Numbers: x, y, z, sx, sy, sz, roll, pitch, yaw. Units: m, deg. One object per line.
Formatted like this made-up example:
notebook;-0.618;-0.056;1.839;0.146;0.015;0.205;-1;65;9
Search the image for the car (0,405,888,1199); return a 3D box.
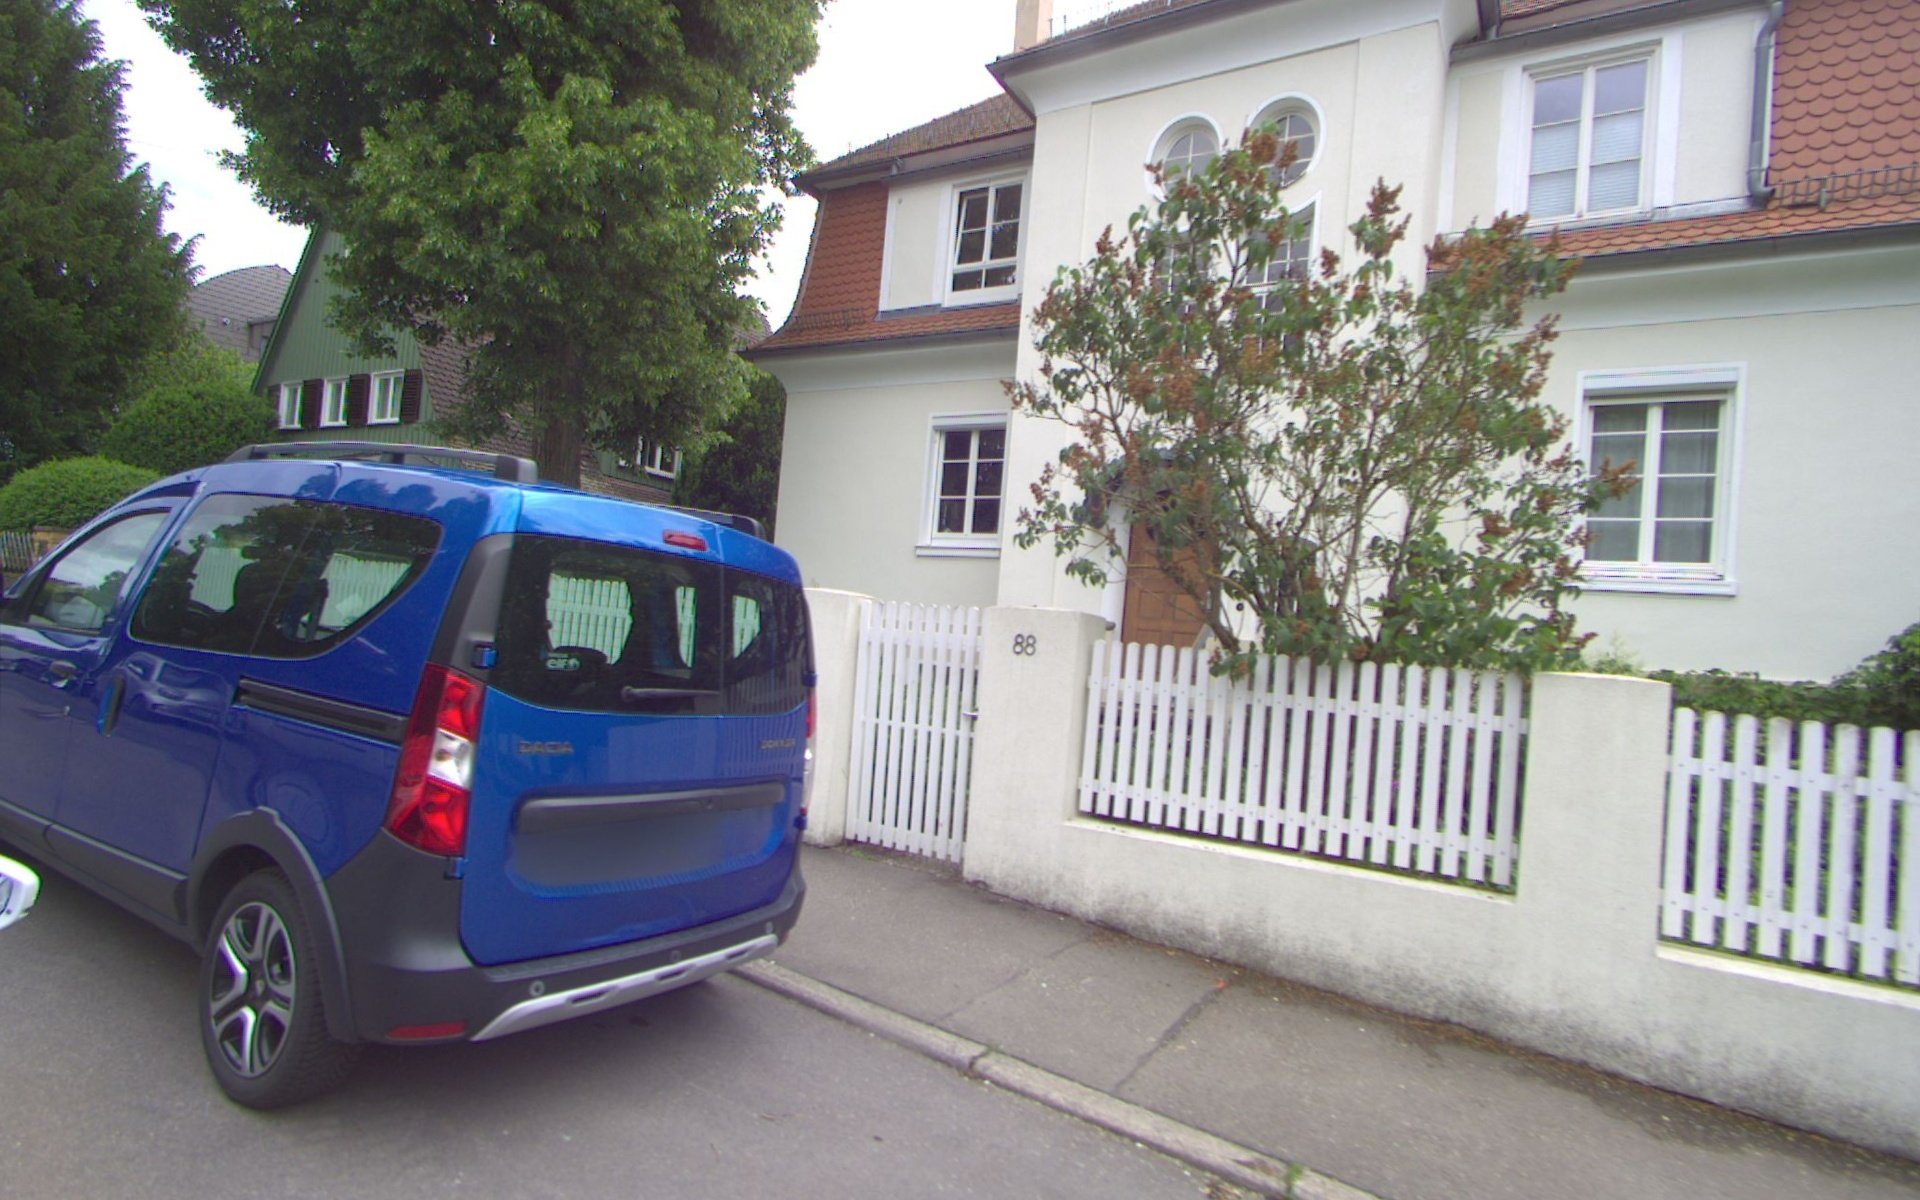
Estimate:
car;-2.553;0.371;4.056;4.087;1.849;1.687;7;-3;31
